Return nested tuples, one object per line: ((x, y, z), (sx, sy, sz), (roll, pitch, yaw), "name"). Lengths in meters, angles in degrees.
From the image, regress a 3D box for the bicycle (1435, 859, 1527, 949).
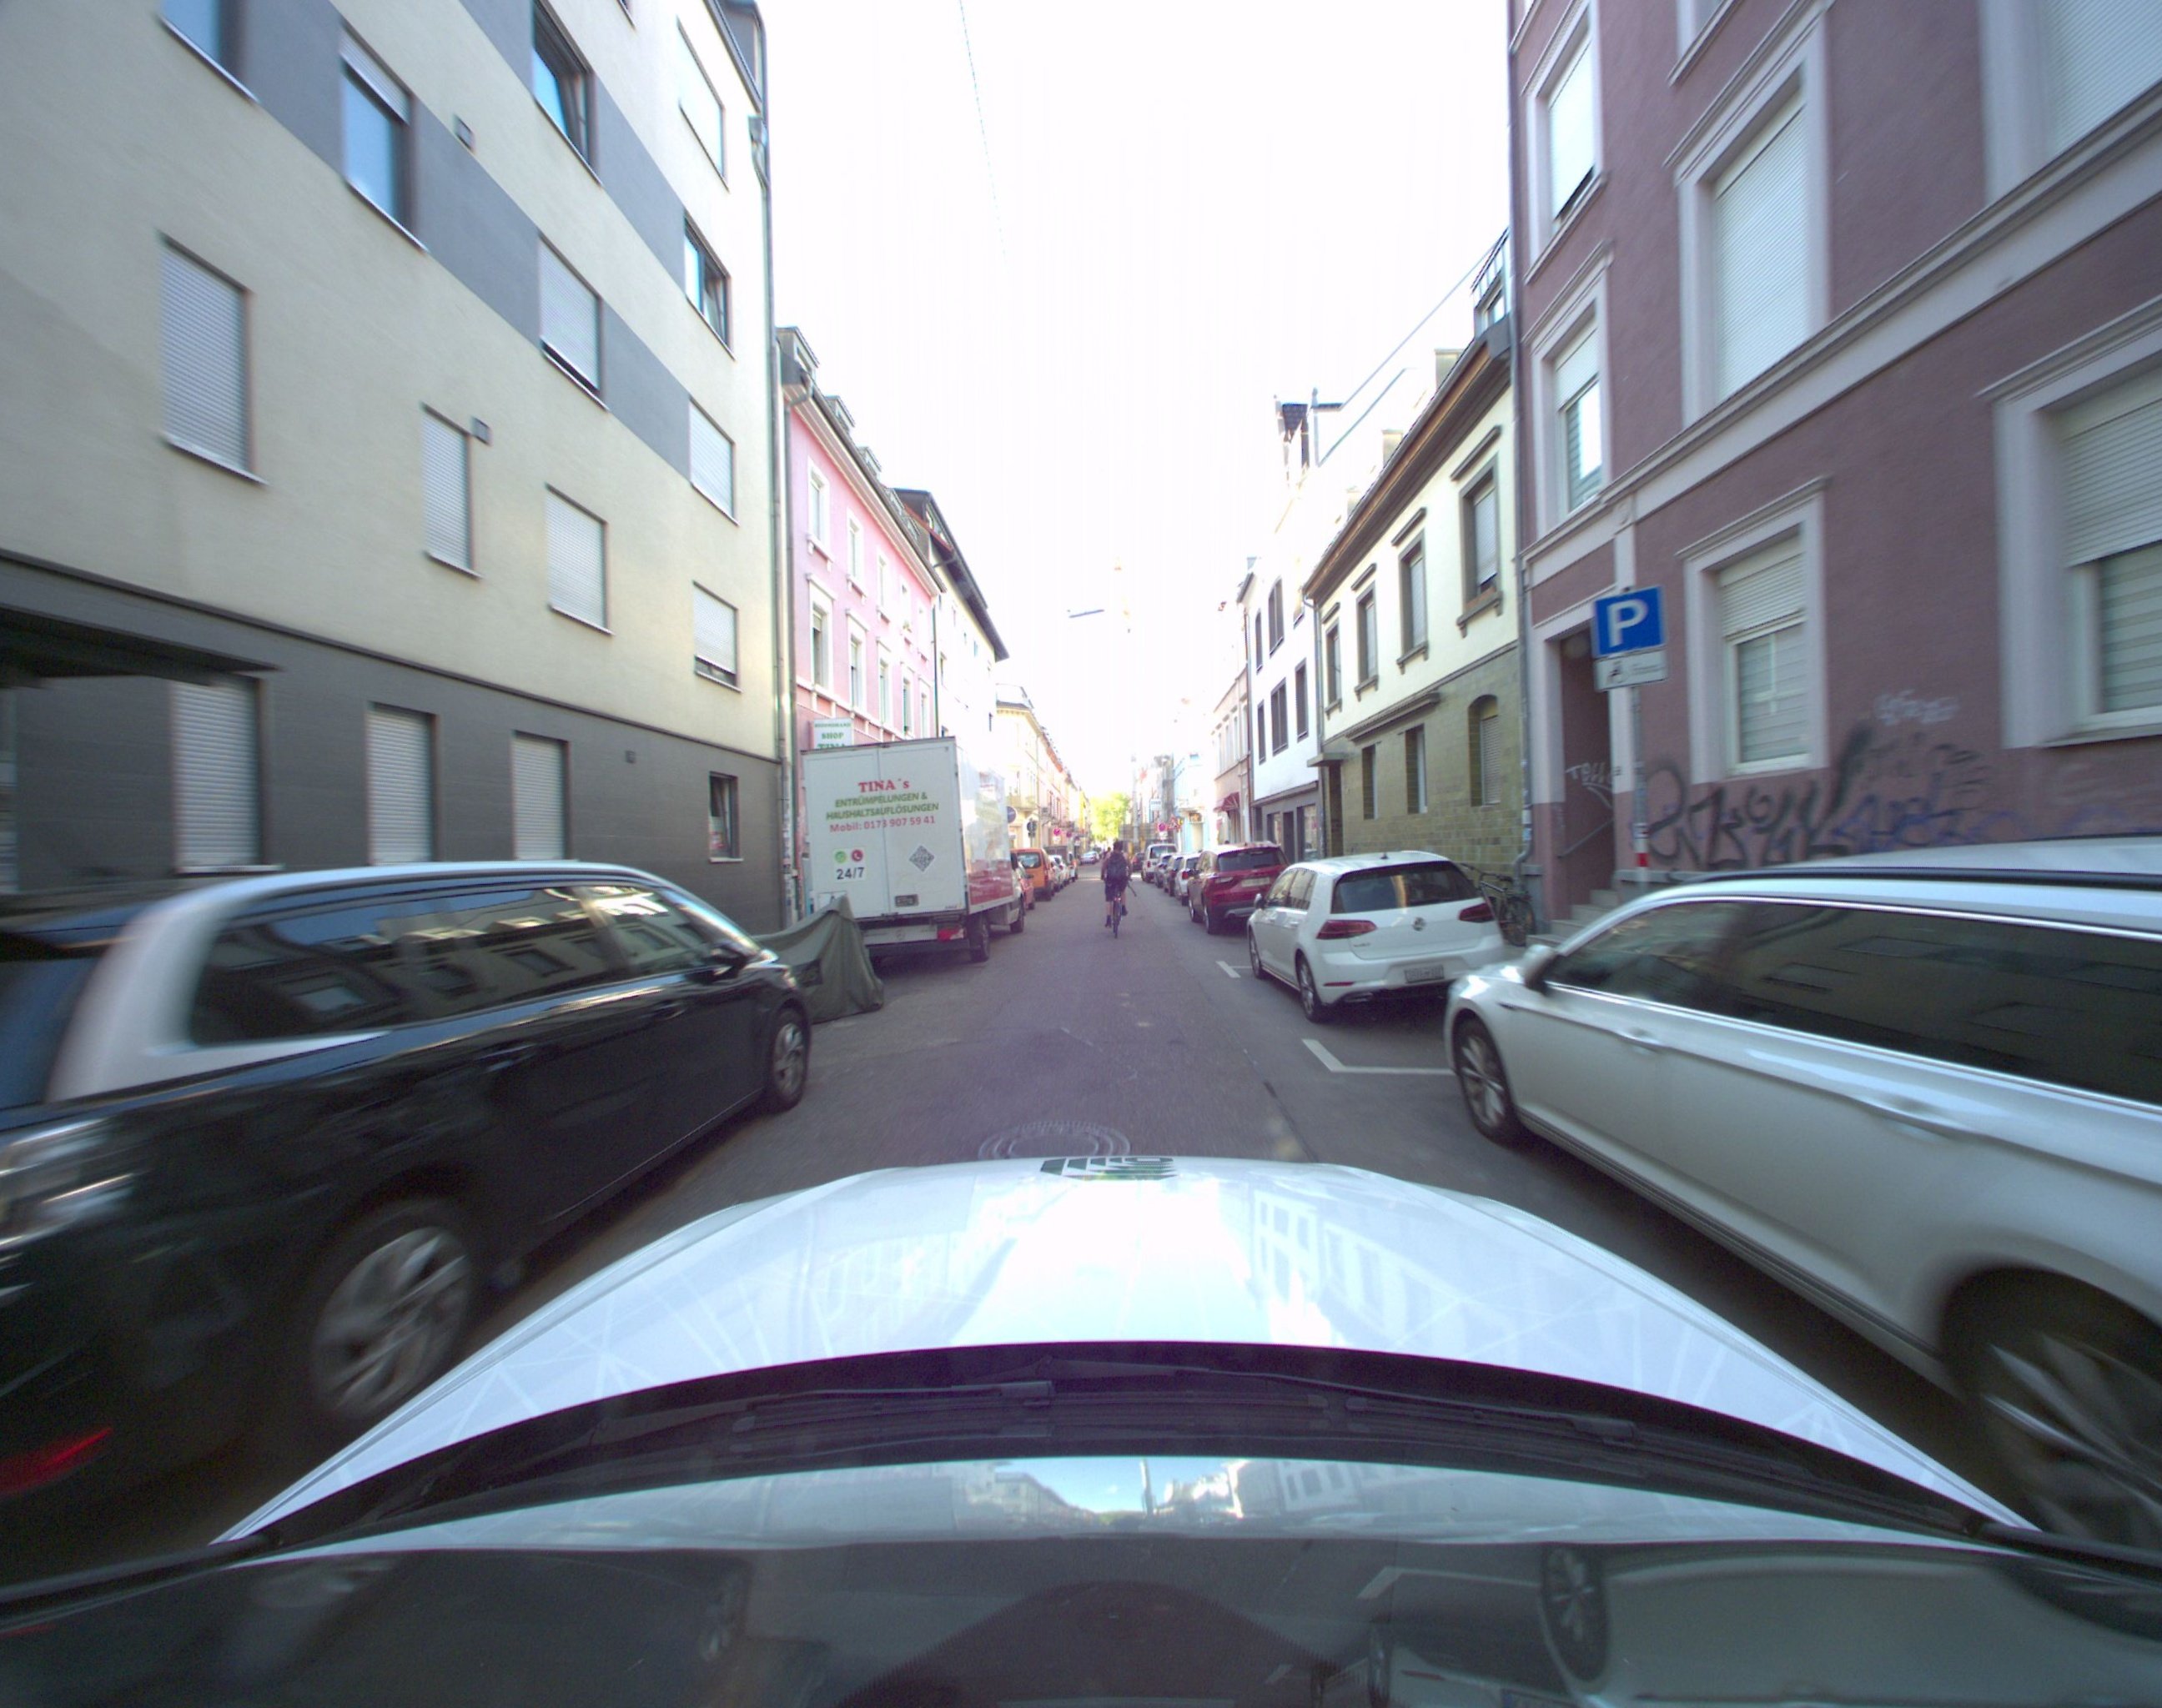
((5.628, 0.668, 11.557), (0.519, 1.173, 1.686), (-1, 0, 2), "bicycle")

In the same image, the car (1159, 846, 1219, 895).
((3.831, 0.561, 29.417), (1.640, 1.475, 3.972), (-6, -1, 2), "car")

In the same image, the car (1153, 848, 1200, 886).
((4.109, 0.546, 35.411), (1.742, 1.486, 3.803), (-3, 0, 3), "car")

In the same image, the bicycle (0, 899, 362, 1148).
((-5.605, 0.936, 5.100), (0.488, 1.164, 1.775), (-4, 0, 3), "bicycle")

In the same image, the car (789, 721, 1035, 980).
((-2.453, -0.031, 14.399), (2.334, 3.291, 7.159), (-4, 0, 3), "car")

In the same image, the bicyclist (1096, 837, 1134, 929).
((0.636, 0.539, 15.429), (0.665, 1.676, 1.097), (-1, -1, 1), "bicyclist")

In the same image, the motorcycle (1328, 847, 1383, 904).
((5.794, 0.437, 17.290), (0.499, 1.095, 1.879), (-4, 0, 2), "motorcycle")

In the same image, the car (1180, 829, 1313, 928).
((3.232, 0.438, 16.782), (1.911, 1.706, 4.368), (-2, 0, 2), "car")

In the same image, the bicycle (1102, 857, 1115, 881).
((1.368, 0.719, 40.419), (0.646, 1.129, 2.137), (-1, 0, 2), "bicycle")

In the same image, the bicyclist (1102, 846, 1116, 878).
((1.364, 0.377, 40.312), (0.668, 1.567, 0.716), (-1, -1, 1), "bicyclist")

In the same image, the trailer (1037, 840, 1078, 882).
((-1.222, 0.383, 43.830), (1.875, 2.092, 3.739), (-3, 0, 2), "trailer")

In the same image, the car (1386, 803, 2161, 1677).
((2.775, 0.658, 2.884), (1.690, 1.543, 4.630), (-4, 0, 2), "car")

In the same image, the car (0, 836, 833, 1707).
((-2.723, 0.821, 3.629), (1.710, 1.650, 4.247), (-4, 1, 2), "car")

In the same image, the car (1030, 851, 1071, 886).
((-1.411, 0.675, 39.085), (1.647, 1.537, 3.636), (-3, 0, 2), "car")

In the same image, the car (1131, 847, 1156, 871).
((4.438, 0.331, 57.889), (1.605, 1.633, 3.612), (-1, 0, 2), "car")

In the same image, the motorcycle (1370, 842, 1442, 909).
((5.787, 0.368, 14.615), (0.556, 1.095, 1.777), (-4, 0, 2), "motorcycle")

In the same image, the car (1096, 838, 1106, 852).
((3.582, -1.597, 144.331), (1.743, 2.318, 3.797), (-3, 0, 2), "car")

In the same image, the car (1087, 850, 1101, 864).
((1.870, 0.397, 114.242), (1.743, 1.821, 3.797), (-3, 0, 2), "car")

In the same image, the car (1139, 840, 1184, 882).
((3.964, 0.333, 40.484), (1.745, 1.878, 3.971), (-3, 0, 0), "car")

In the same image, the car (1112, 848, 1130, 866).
((3.611, 0.241, 74.050), (1.605, 1.560, 3.612), (-1, 0, 2), "car")

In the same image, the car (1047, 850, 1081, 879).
((-0.952, 0.588, 48.140), (1.743, 1.573, 3.797), (-3, 0, 2), "car")

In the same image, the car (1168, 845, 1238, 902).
((3.659, 0.556, 24.939), (1.660, 1.505, 3.819), (-5, 0, 3), "car")

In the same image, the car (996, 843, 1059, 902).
((-1.809, 0.607, 28.706), (1.746, 1.816, 4.079), (-4, 0, 1), "car")

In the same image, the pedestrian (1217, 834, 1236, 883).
((5.989, 0.187, 33.462), (0.641, 2.014, 0.764), (-1, -1, 2), "pedestrian")

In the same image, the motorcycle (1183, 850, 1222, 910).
((3.172, 0.651, 21.435), (0.744, 1.490, 2.423), (-1, 0, 2), "motorcycle")

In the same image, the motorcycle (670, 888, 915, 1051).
((-2.813, 1.060, 8.148), (0.782, 1.253, 2.120), (-4, 0, 43), "motorcycle")

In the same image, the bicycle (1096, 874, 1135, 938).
((0.642, 0.947, 15.397), (0.674, 1.074, 1.942), (-1, 0, 2), "bicycle")

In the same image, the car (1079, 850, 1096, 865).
((0.792, 0.451, 97.197), (1.743, 1.683, 3.797), (-3, 0, 2), "car")

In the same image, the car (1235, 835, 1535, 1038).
((2.852, 0.677, 8.634), (1.680, 1.543, 4.047), (-4, 0, 2), "car")

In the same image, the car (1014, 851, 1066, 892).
((-1.648, 0.698, 34.095), (1.743, 1.537, 4.321), (-3, 0, 2), "car")

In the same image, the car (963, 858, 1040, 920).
((-2.125, 0.903, 22.724), (1.572, 1.483, 3.566), (-5, 0, 2), "car")
